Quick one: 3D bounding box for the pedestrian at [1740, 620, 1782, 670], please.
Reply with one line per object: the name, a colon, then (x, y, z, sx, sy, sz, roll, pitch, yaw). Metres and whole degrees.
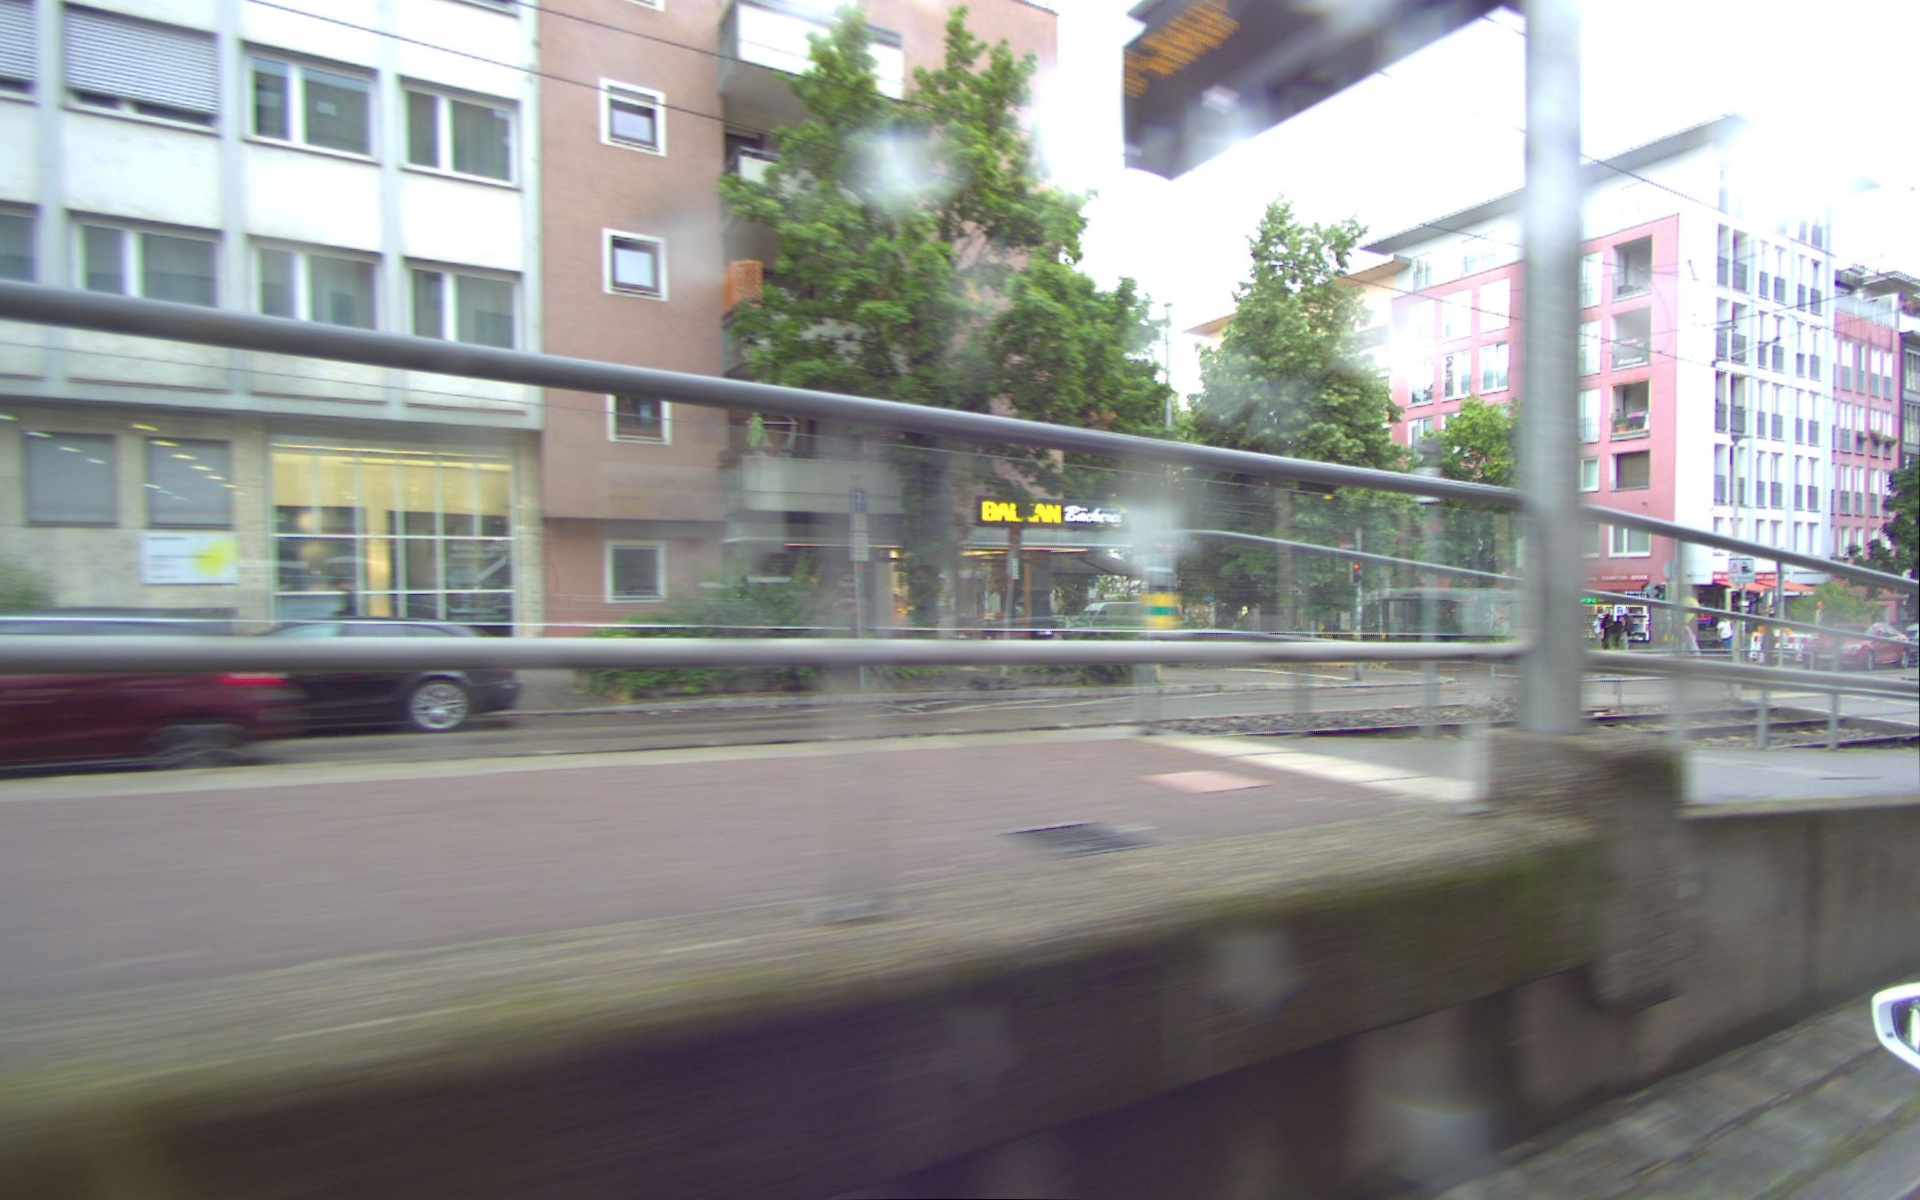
pedestrian: (27.527, 1.525, 34.526, 0.791, 1.653, 0.882, -1, 1, 8)

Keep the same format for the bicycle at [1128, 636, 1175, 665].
bicycle: (6.200, 1.629, 32.493, 1.625, 0.923, 0.338, 1, -1, -28)

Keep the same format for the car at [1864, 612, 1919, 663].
car: (36.994, 1.409, 39.029, 4.273, 1.883, 1.698, 1, -1, -33)

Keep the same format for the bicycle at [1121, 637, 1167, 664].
bicycle: (6.031, 1.640, 32.883, 1.625, 0.854, 0.336, 1, -1, -28)

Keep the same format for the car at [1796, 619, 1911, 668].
car: (32.224, 1.518, 36.219, 4.496, 1.633, 1.719, 0, -1, -29)

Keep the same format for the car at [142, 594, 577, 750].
car: (-7.147, 0.814, 12.407, 4.319, 1.645, 1.631, 1, -1, -30)

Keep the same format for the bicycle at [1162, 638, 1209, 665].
bicycle: (6.975, 1.590, 30.984, 1.627, 0.827, 0.337, 1, -1, -30)

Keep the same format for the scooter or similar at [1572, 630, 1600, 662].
scooter or similar: (24.186, 1.764, 38.785, 1.197, 1.207, 0.387, 1, -1, -29)

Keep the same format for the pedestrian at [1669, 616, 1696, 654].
pedestrian: (29.307, 1.422, 40.747, 0.649, 1.481, 0.636, 1, 1, -32)

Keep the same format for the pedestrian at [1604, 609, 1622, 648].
pedestrian: (28.294, 1.216, 43.512, 0.535, 1.653, 0.574, 2, 1, 24)

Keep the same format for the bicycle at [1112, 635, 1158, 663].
bicycle: (5.836, 1.638, 33.461, 1.625, 0.915, 0.338, 1, -1, -28)

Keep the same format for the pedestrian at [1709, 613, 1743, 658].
pedestrian: (30.622, 1.404, 40.169, 0.977, 1.720, 0.813, 1, 1, -38)

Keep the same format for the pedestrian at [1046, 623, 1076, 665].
pedestrian: (2.888, 1.247, 28.728, 0.666, 1.193, 0.607, 0, -1, 28)

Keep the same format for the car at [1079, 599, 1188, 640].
car: (11.224, 1.287, 64.796, 7.011, 2.567, 2.405, 1, -1, -28)

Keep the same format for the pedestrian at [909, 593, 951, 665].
pedestrian: (-0.682, 0.672, 23.019, 0.808, 1.617, 0.556, 1, -1, -28)

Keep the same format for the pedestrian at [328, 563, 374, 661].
pedestrian: (-10.072, 0.201, 16.603, 0.579, 1.578, 0.694, 1, -1, -36)

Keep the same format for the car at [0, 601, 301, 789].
car: (-8.273, 0.749, 8.468, 4.482, 1.481, 1.682, 1, -1, -33)

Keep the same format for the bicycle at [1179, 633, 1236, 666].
bicycle: (7.424, 1.481, 30.113, 1.851, 0.972, 0.477, 1, -1, -30)

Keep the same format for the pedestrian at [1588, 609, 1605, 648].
pedestrian: (27.975, 1.249, 44.114, 0.570, 1.653, 0.609, 2, 1, 34)
